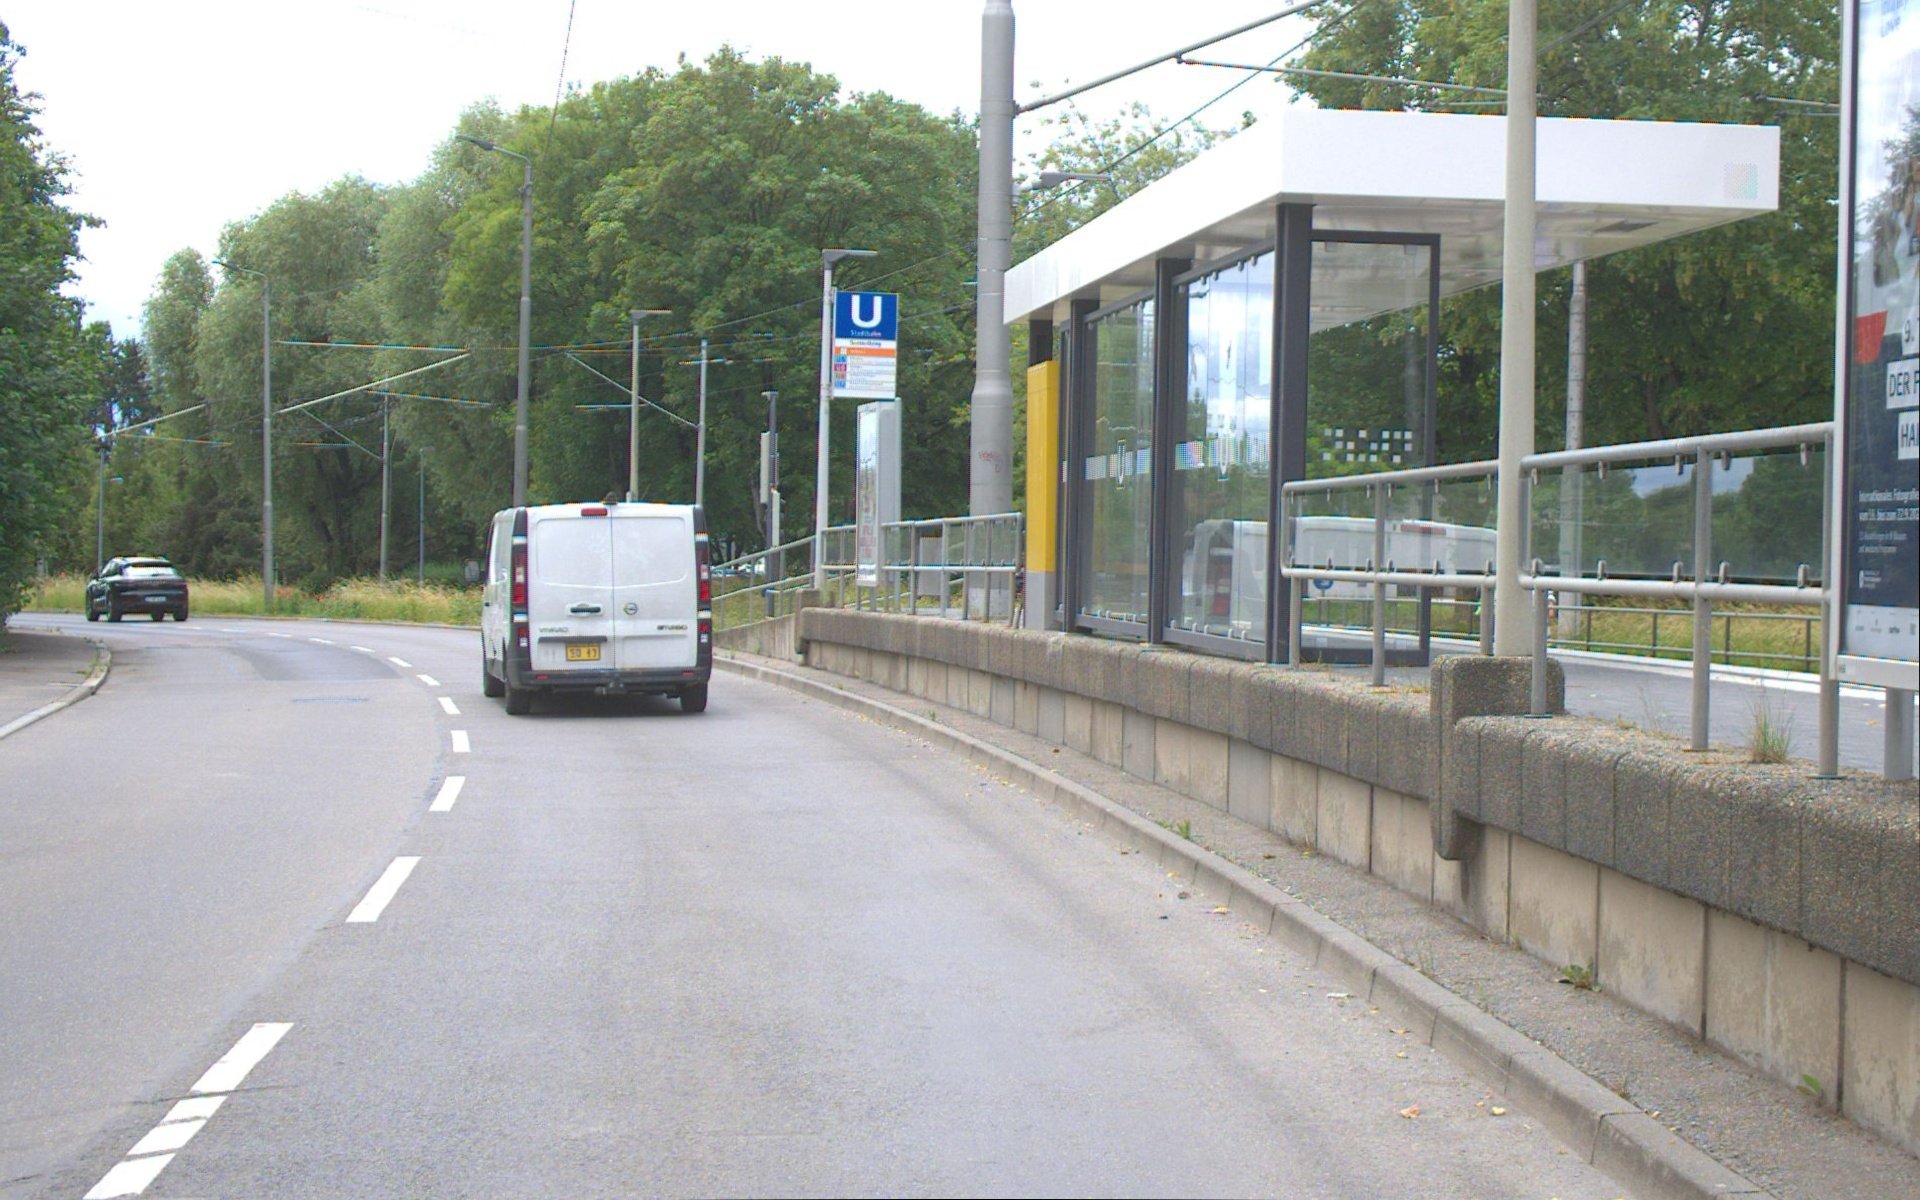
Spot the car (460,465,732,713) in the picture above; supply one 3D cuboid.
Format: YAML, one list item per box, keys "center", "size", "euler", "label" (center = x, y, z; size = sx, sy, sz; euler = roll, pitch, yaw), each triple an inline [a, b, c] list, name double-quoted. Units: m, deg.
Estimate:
- center: [-3.605, -0.127, 33.117]
  size: [2.116, 2.127, 5.442]
  euler: [2, 0, -11]
  label: "car"

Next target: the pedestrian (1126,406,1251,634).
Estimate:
- center: [1.427, -0.504, 21.560]
  size: [0.638, 1.399, 0.765]
  euler: [0, 2, -7]
  label: "pedestrian"

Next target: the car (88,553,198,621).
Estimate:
- center: [-20.709, -0.339, 87.034]
  size: [2.354, 1.559, 4.374]
  euler: [2, 0, -18]
  label: "car"
